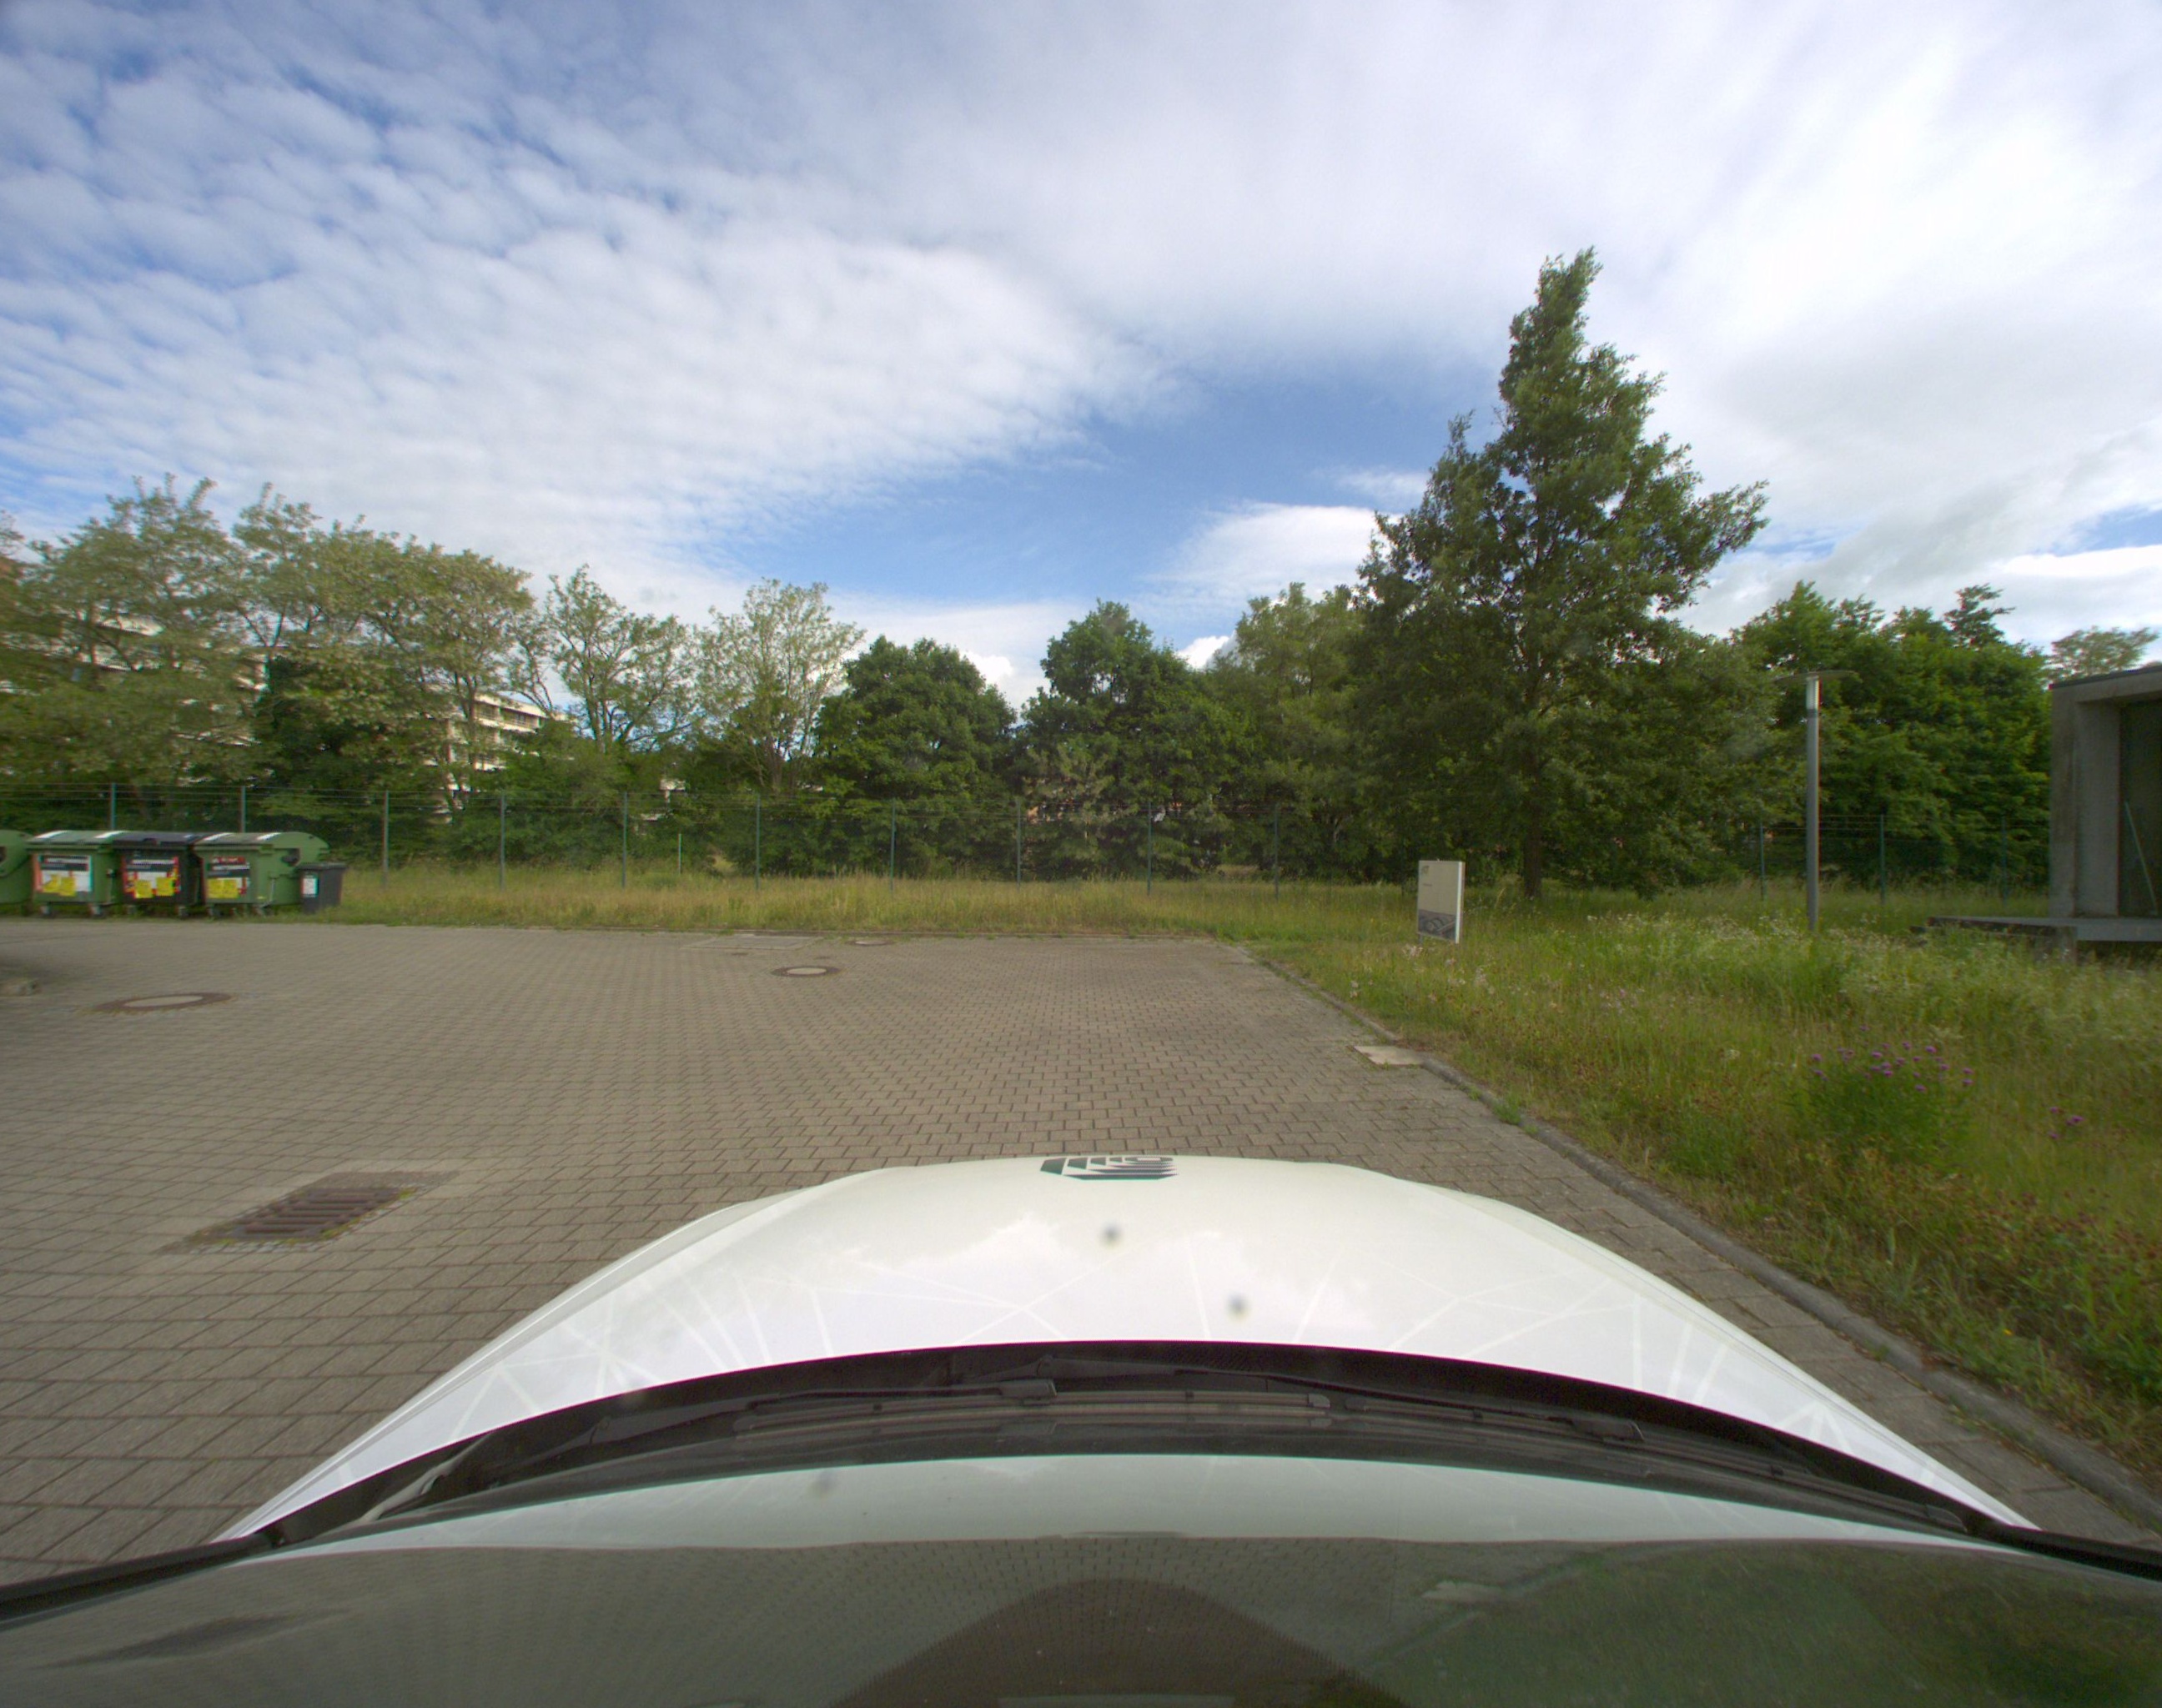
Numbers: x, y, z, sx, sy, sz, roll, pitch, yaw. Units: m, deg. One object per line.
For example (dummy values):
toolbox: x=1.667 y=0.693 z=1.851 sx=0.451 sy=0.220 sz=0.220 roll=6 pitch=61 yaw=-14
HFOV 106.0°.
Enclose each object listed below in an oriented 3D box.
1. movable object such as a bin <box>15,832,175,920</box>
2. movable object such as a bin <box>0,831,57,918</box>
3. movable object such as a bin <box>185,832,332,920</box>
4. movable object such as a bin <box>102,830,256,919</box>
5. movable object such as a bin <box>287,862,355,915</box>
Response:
movable object such as a bin: x=-16.403 y=0.351 z=13.588 sx=1.375 sy=1.406 sz=1.073 roll=0 pitch=0 yaw=2
movable object such as a bin: x=-17.963 y=0.328 z=13.224 sx=1.372 sy=1.398 sz=1.130 roll=0 pitch=0 yaw=10
movable object such as a bin: x=-13.730 y=0.352 z=13.640 sx=1.344 sy=1.395 sz=1.134 roll=0 pitch=0 yaw=8
movable object such as a bin: x=-15.078 y=0.336 z=13.657 sx=1.388 sy=1.435 sz=1.073 roll=0 pitch=0 yaw=2
movable object such as a bin: x=-12.750 y=0.563 z=13.677 sx=0.580 sy=0.866 sz=0.603 roll=0 pitch=0 yaw=8
